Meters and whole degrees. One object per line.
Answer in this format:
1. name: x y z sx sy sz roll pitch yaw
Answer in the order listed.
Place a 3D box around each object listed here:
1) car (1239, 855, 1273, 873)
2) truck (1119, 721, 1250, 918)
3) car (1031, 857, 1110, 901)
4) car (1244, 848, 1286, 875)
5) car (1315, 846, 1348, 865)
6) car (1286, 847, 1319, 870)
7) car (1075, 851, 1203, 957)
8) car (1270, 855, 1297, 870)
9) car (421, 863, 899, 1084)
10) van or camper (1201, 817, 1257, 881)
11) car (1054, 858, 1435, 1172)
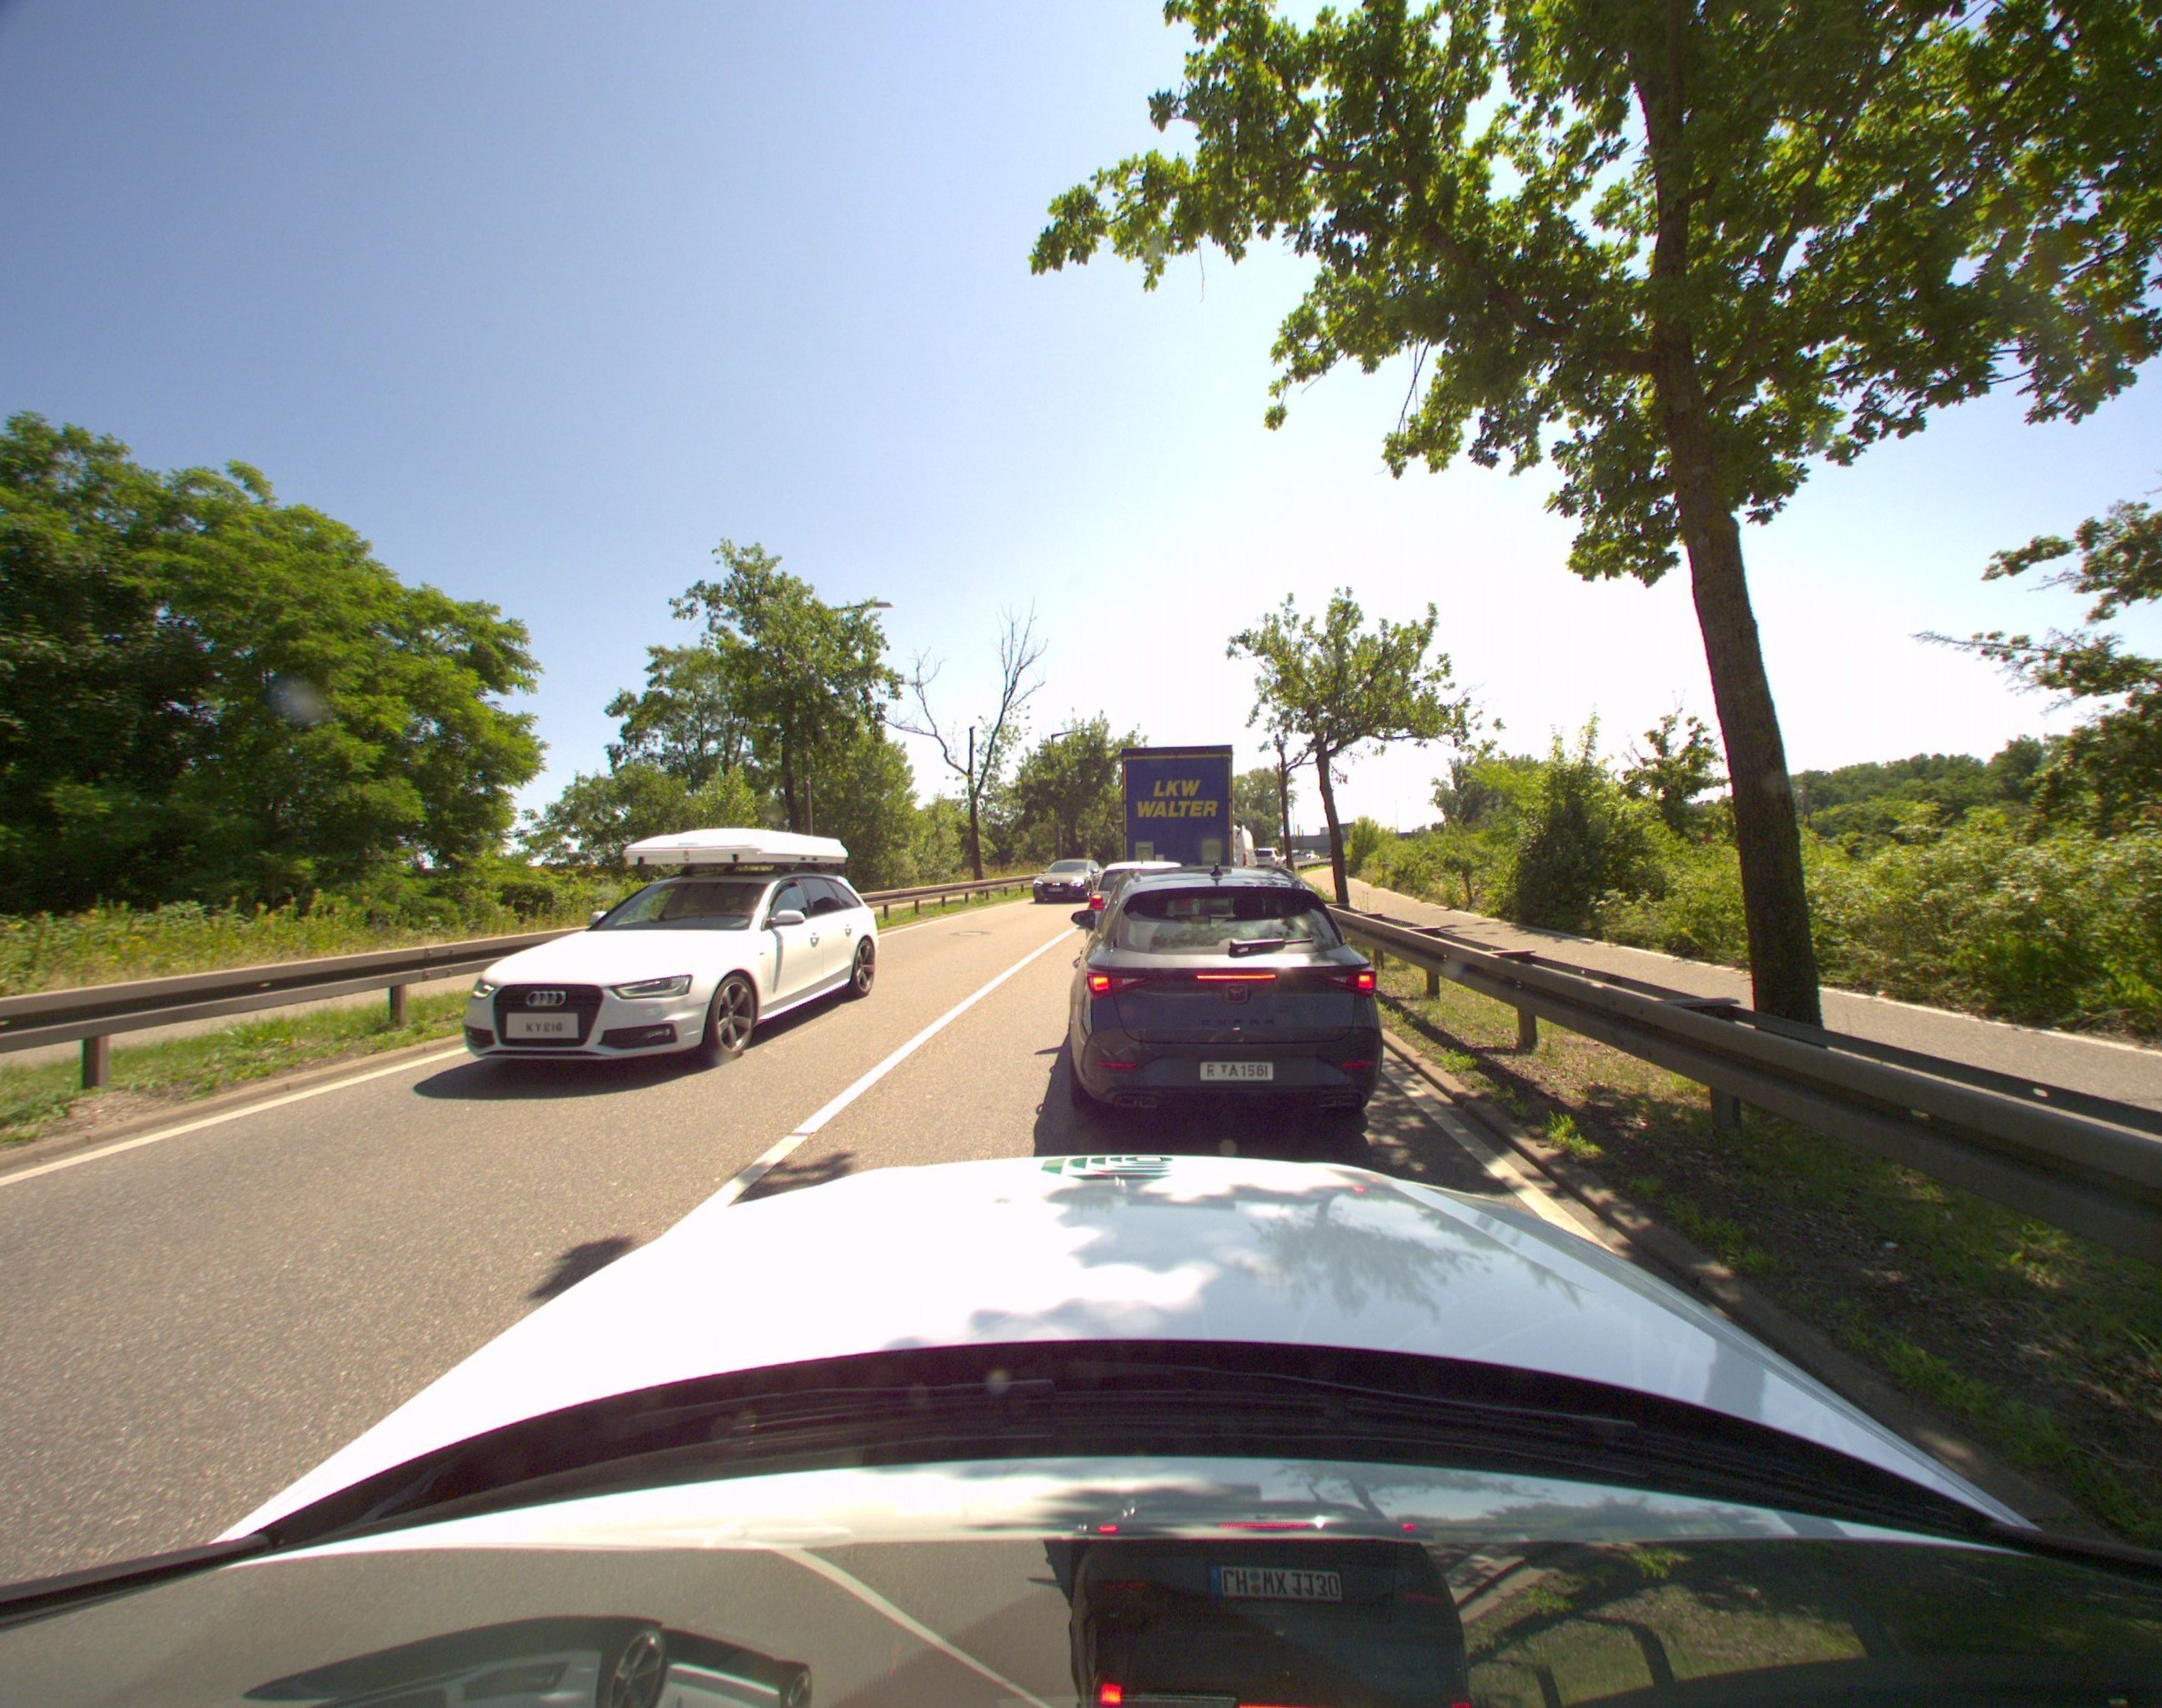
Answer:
1. car: 14.256 0.779 66.200 1.841 1.396 4.430 -1 0 23
2. truck: 3.809 -0.763 26.965 2.932 4.449 16.844 -1 0 10
3. car: -0.269 0.804 27.942 1.747 1.396 4.420 -1 0 12
4. car: 11.911 0.470 52.571 1.976 1.712 4.644 -1 0 21
5. car: 23.283 0.170 75.600 1.975 1.717 4.898 -1 0 28
6. car: 17.855 0.353 65.497 1.976 1.808 4.872 -1 0 23
7. car: 0.957 0.721 13.619 1.801 1.508 4.004 -1 0 4
8. car: 19.384 0.761 77.796 1.841 1.396 4.430 -1 0 23
9. car: -3.347 0.821 7.684 1.810 1.421 4.474 -1 0 6
10. van or camper: 7.670 -0.232 41.704 2.449 2.998 6.109 -1 0 14
11. car: 0.827 0.754 5.703 1.737 1.432 3.882 -1 0 2
